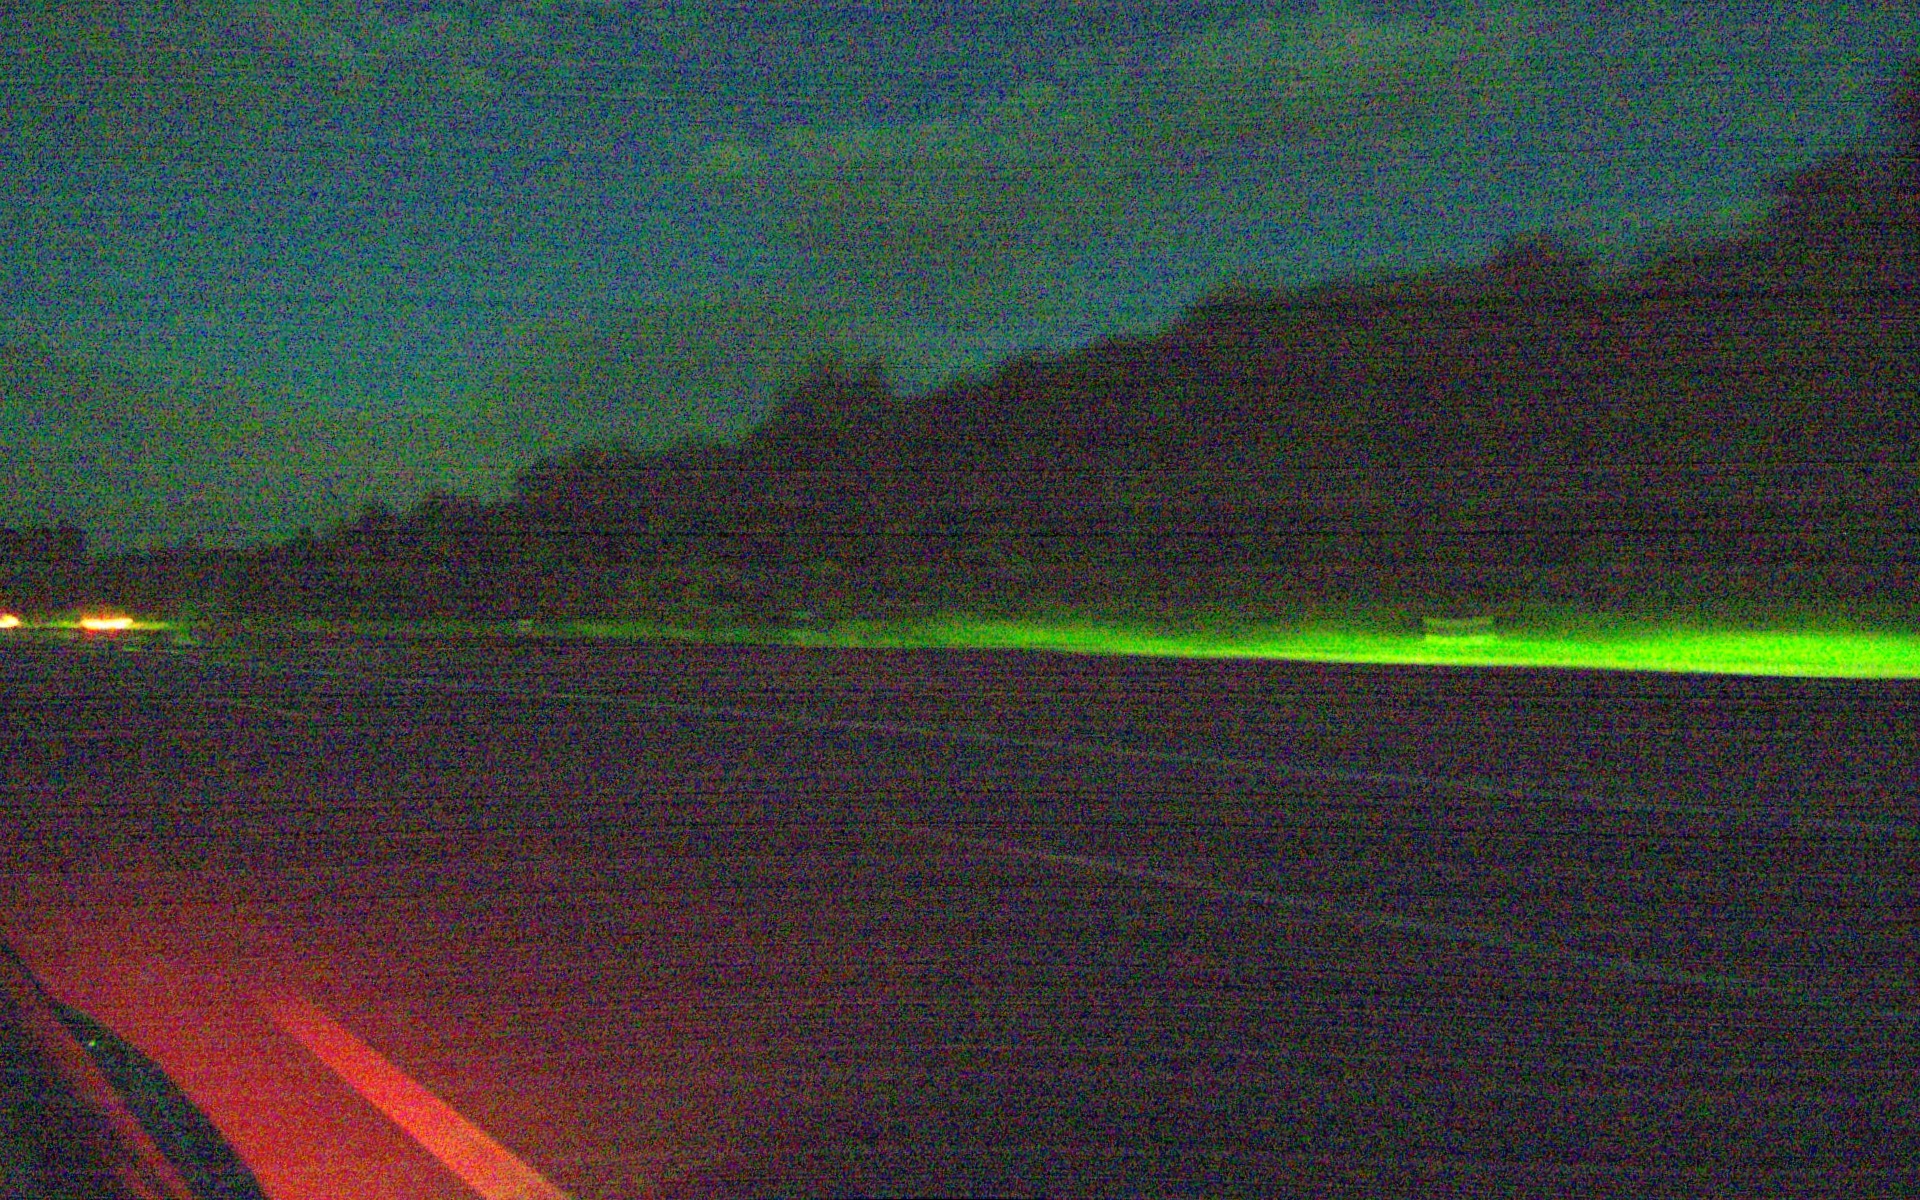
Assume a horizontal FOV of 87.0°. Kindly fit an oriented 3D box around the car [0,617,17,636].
[{"bbox_3d":[-96.724,2.655,102.013,4.678,1.804,1.973,-1,0,41],"label":"car"}]

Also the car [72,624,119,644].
[{"bbox_3d":[-68.629,2.688,80.305,4.924,1.491,1.974,-1,0,39],"label":"car"}]

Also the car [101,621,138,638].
[{"bbox_3d":[-79.131,2.783,95.292,4.398,1.519,1.973,-1,0,40],"label":"car"}]
